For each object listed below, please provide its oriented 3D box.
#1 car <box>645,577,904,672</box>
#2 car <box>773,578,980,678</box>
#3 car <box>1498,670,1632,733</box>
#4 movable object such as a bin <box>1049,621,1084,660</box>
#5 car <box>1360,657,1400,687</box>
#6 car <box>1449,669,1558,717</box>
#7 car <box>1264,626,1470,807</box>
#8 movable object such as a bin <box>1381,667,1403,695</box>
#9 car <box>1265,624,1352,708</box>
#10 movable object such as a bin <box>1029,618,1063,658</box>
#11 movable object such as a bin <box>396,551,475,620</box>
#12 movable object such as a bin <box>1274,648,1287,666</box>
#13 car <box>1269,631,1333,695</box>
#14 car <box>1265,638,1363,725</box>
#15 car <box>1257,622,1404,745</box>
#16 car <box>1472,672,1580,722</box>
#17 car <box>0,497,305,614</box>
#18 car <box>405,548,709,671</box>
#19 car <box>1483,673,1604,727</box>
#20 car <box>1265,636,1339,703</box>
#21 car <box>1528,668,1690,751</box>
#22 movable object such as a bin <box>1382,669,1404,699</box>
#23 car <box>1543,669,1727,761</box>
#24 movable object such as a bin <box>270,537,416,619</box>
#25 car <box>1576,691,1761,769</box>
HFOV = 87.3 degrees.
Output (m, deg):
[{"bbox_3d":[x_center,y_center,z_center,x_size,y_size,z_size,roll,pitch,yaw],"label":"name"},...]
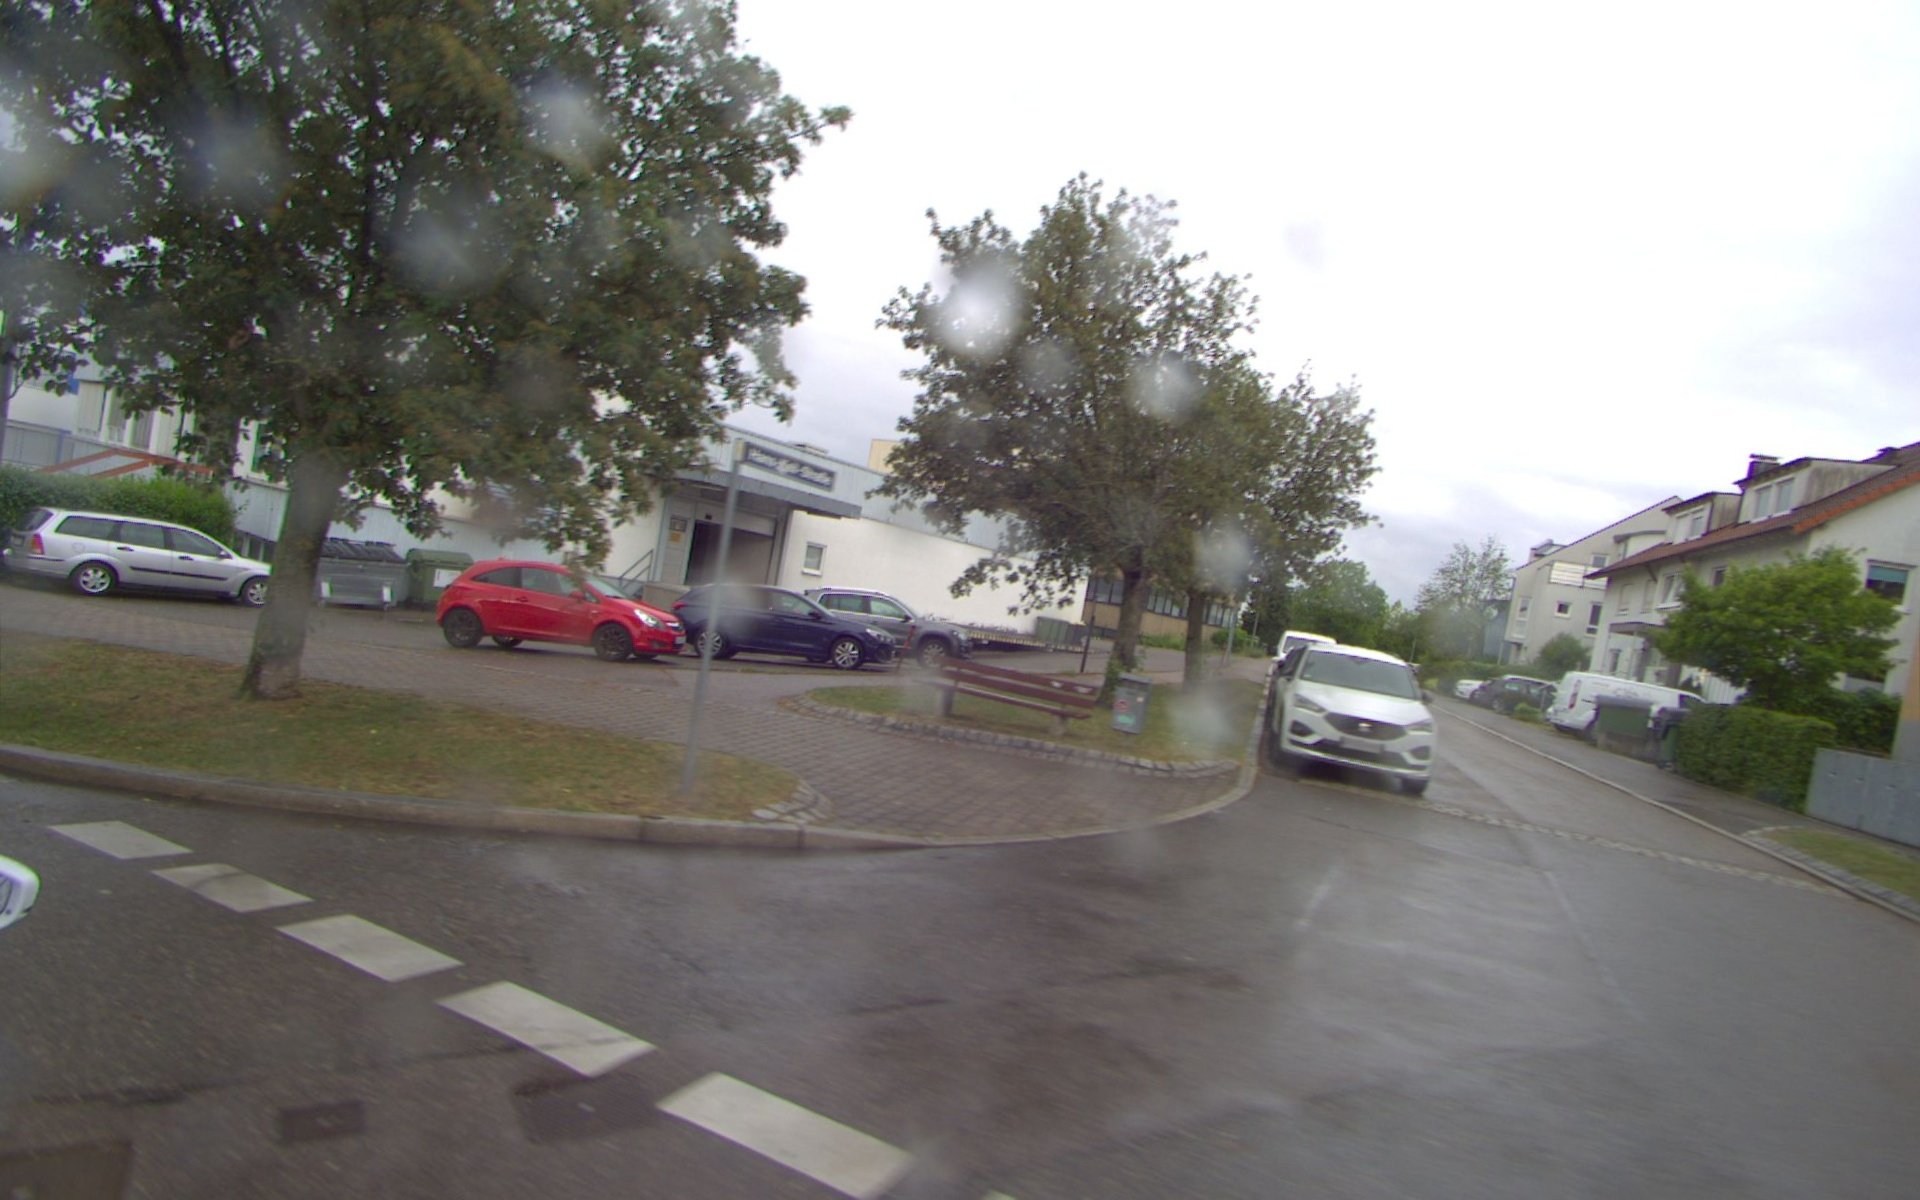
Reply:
[{"bbox_3d":[-3.524,0.495,19.847,4.741,1.604,1.859,2,-1,-2],"label":"car"},{"bbox_3d":[-1.874,0.671,22.899,4.378,1.818,1.860,5,-3,-4],"label":"car"},{"bbox_3d":[22.163,3.707,36.986,3.703,1.670,1.784,7,1,13],"label":"car"},{"bbox_3d":[5.146,1.962,48.530,0.535,1.682,1.982,6,-1,38],"label":"movable object such as a bin"},{"bbox_3d":[33.260,5.714,79.634,2.158,1.897,3.994,7,-1,31],"label":"car"},{"bbox_3d":[24.476,4.177,45.414,3.870,1.513,1.830,7,0,16],"label":"car"},{"bbox_3d":[5.374,1.403,13.927,1.910,1.837,4.715,7,0,15],"label":"car"},{"bbox_3d":[23.080,4.310,53.728,0.762,1.419,1.043,6,-1,13],"label":"movable object such as a bin"},{"bbox_3d":[9.849,1.879,28.709,1.895,1.951,4.426,9,-1,17],"label":"car"},{"bbox_3d":[4.020,1.778,47.031,0.535,1.682,1.739,6,-1,38],"label":"movable object such as a bin"},{"bbox_3d":[-12.778,-0.346,24.512,1.013,1.514,1.304,7,1,38],"label":"movable object such as a bin"},{"bbox_3d":[22.412,3.986,70.350,0.642,1.219,0.927,6,-1,15],"label":"movable object such as a bin"},{"bbox_3d":[12.866,2.391,38.099,1.919,1.992,4.161,9,-1,18],"label":"car"},{"bbox_3d":[8.346,1.910,24.033,1.800,1.688,3.834,7,-1,16],"label":"car"},{"bbox_3d":[6.750,1.504,18.748,1.918,1.752,4.024,9,-1,14],"label":"car"},{"bbox_3d":[24.081,4.104,42.921,3.591,1.490,1.716,7,1,17],"label":"car"},{"bbox_3d":[-15.421,-0.779,19.285,1.829,1.603,4.316,6,-2,34],"label":"car"},{"bbox_3d":[-6.652,0.178,16.930,4.244,1.604,1.860,5,-1,2],"label":"car"},{"bbox_3d":[23.033,3.925,39.849,3.732,1.477,1.744,7,1,20],"label":"car"},{"bbox_3d":[11.078,2.264,32.781,1.919,1.752,4.023,9,-1,17],"label":"car"},{"bbox_3d":[20.639,3.436,32.148,3.816,1.987,1.735,7,1,16],"label":"car"},{"bbox_3d":[22.572,4.364,52.431,0.762,1.412,0.966,6,-1,13],"label":"movable object such as a bin"},{"bbox_3d":[19.931,3.351,29.930,3.925,2.039,2.000,7,1,17],"label":"car"},{"bbox_3d":[-13.926,-0.490,22.738,1.707,1.522,2.265,7,0,38],"label":"movable object such as a bin"},{"bbox_3d":[19.162,3.489,27.392,3.614,1.433,1.723,7,0,16],"label":"car"}]
